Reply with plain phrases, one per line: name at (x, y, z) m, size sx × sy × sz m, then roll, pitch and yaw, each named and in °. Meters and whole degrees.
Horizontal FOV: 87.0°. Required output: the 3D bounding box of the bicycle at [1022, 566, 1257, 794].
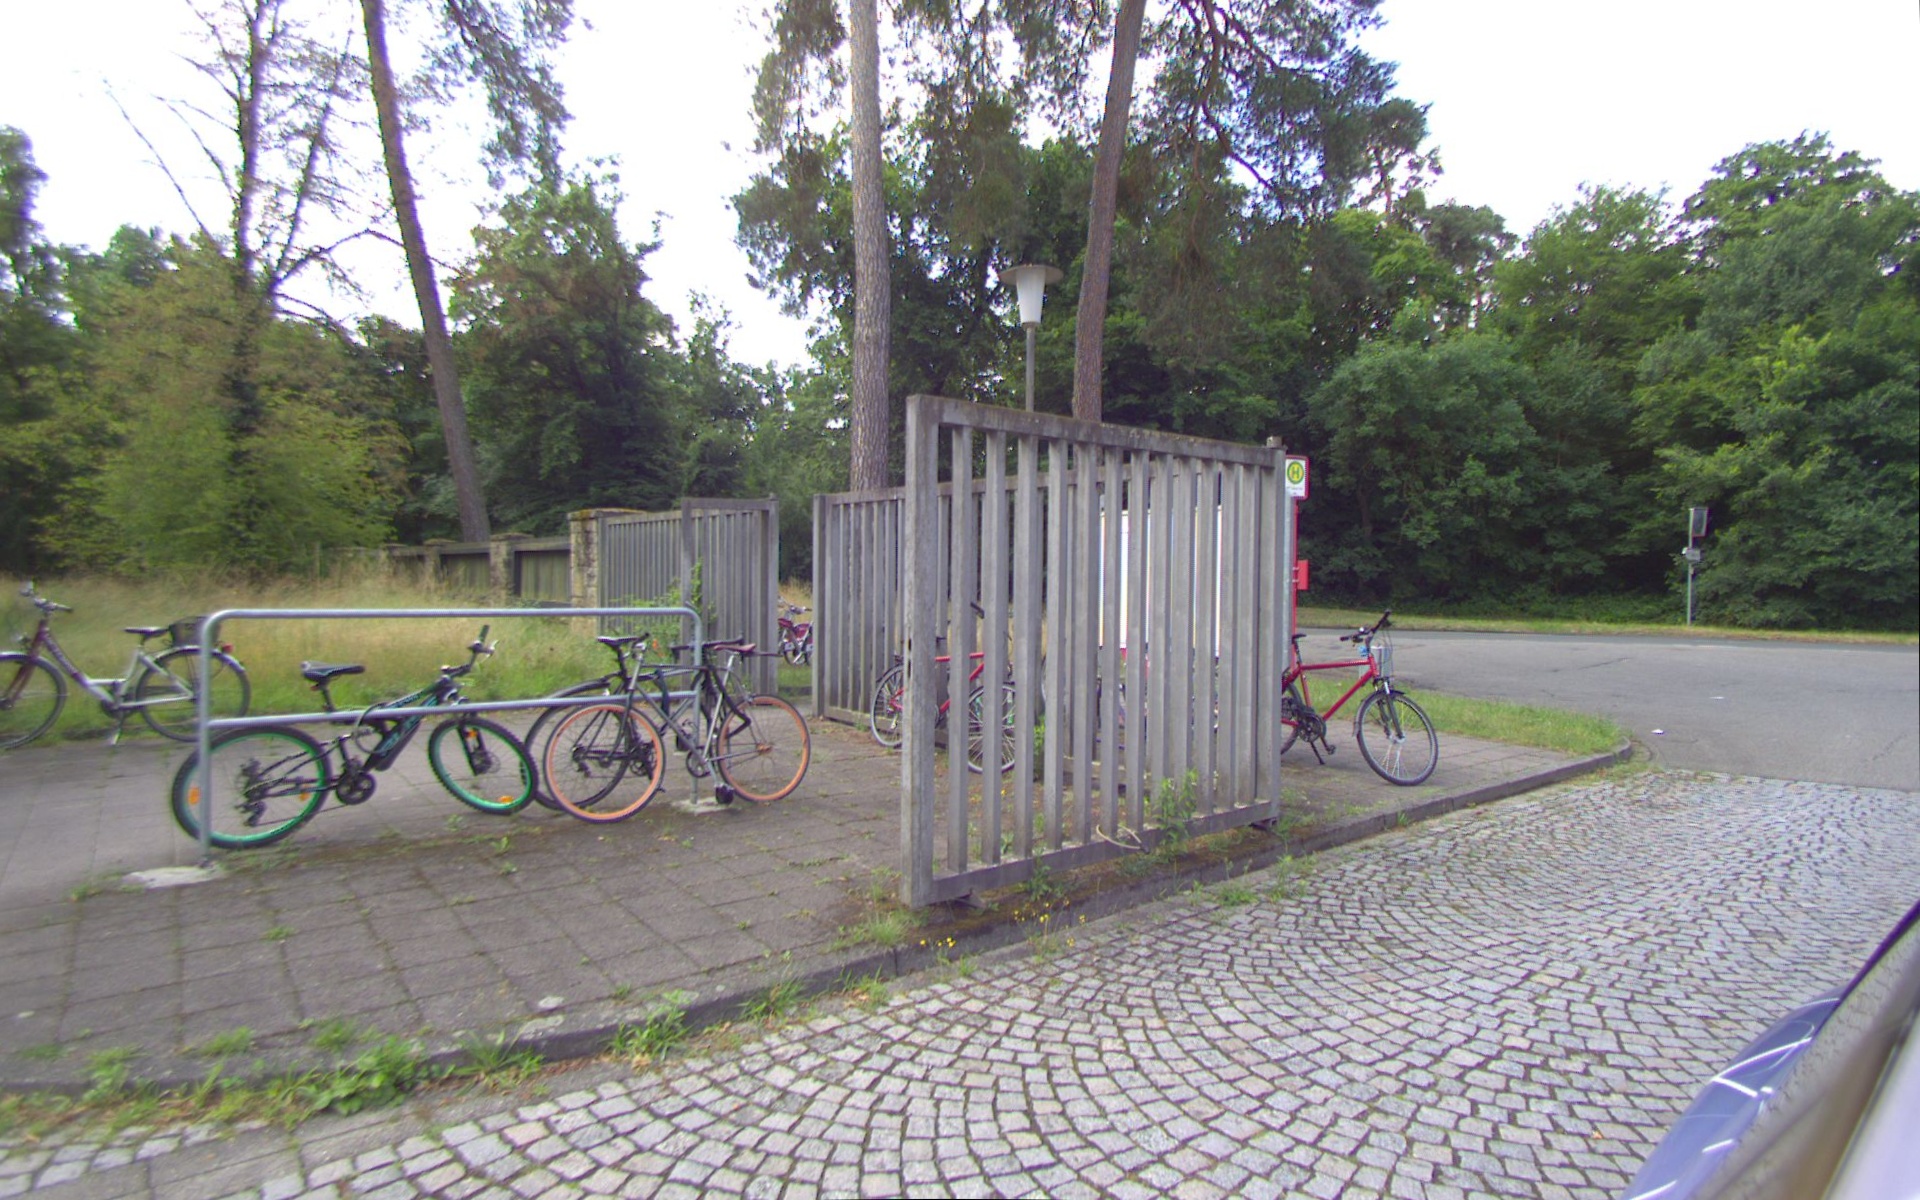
bicycle at (1.233, 0.482, 7.400) m, size 0.506 × 1.434 × 1.907 m, roll -1°, pitch 3°, yaw -34°

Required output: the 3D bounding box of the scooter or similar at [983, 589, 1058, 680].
scooter or similar at (0.892, 0.484, 14.992) m, size 0.431 × 1.243 × 1.088 m, roll -2°, pitch 4°, yaw -44°

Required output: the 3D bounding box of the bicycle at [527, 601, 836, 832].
bicycle at (-1.602, 0.621, 6.016) m, size 1.685 × 1.185 × 0.502 m, roll 1°, pitch 1°, yaw -40°

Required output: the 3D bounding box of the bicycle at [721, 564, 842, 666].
bicycle at (-2.662, 0.204, 15.273) m, size 0.574 × 1.435 × 1.958 m, roll 1°, pitch 1°, yaw 34°

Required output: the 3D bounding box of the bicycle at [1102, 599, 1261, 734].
bicycle at (2.183, 0.620, 10.175) m, size 0.610 × 1.177 × 1.613 m, roll 2°, pitch 1°, yaw -29°

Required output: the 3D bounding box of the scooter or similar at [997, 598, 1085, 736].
scooter or similar at (0.766, 0.573, 9.314) m, size 0.433 × 1.165 × 1.243 m, roll 1°, pitch 1°, yaw 22°

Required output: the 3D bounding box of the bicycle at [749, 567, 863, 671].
bicycle at (-2.226, 0.263, 14.841) m, size 0.585 × 1.435 × 1.776 m, roll 1°, pitch 0°, yaw 34°

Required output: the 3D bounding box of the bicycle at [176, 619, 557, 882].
bicycle at (-2.967, 0.660, 5.131) m, size 1.566 × 1.070 × 0.731 m, roll 0°, pitch 2°, yaw -40°

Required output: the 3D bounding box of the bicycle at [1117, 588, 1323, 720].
bicycle at (2.777, 0.522, 11.049) m, size 0.625 × 1.255 × 2.170 m, roll -1°, pitch 2°, yaw -44°

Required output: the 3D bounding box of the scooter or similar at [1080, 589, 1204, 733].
scooter or similar at (1.738, 0.547, 9.818) m, size 0.379 × 1.261 × 1.285 m, roll 0°, pitch 2°, yaw -33°

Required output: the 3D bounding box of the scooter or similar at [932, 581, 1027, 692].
scooter or similar at (0.260, 0.497, 14.168) m, size 0.520 × 1.435 × 1.251 m, roll 8°, pitch -3°, yaw -38°

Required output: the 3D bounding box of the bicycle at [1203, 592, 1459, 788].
bicycle at (2.850, 0.623, 7.922) m, size 0.661 × 1.293 × 1.737 m, roll 0°, pitch 3°, yaw -43°

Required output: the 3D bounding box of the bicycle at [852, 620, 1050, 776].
bicycle at (-0.135, 0.692, 7.883) m, size 0.449 × 0.980 × 1.951 m, roll 0°, pitch 2°, yaw -38°

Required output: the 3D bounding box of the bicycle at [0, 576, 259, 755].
bicycle at (-6.073, 0.452, 7.215) m, size 1.689 × 1.185 × 0.437 m, roll 2°, pitch 1°, yaw -27°
